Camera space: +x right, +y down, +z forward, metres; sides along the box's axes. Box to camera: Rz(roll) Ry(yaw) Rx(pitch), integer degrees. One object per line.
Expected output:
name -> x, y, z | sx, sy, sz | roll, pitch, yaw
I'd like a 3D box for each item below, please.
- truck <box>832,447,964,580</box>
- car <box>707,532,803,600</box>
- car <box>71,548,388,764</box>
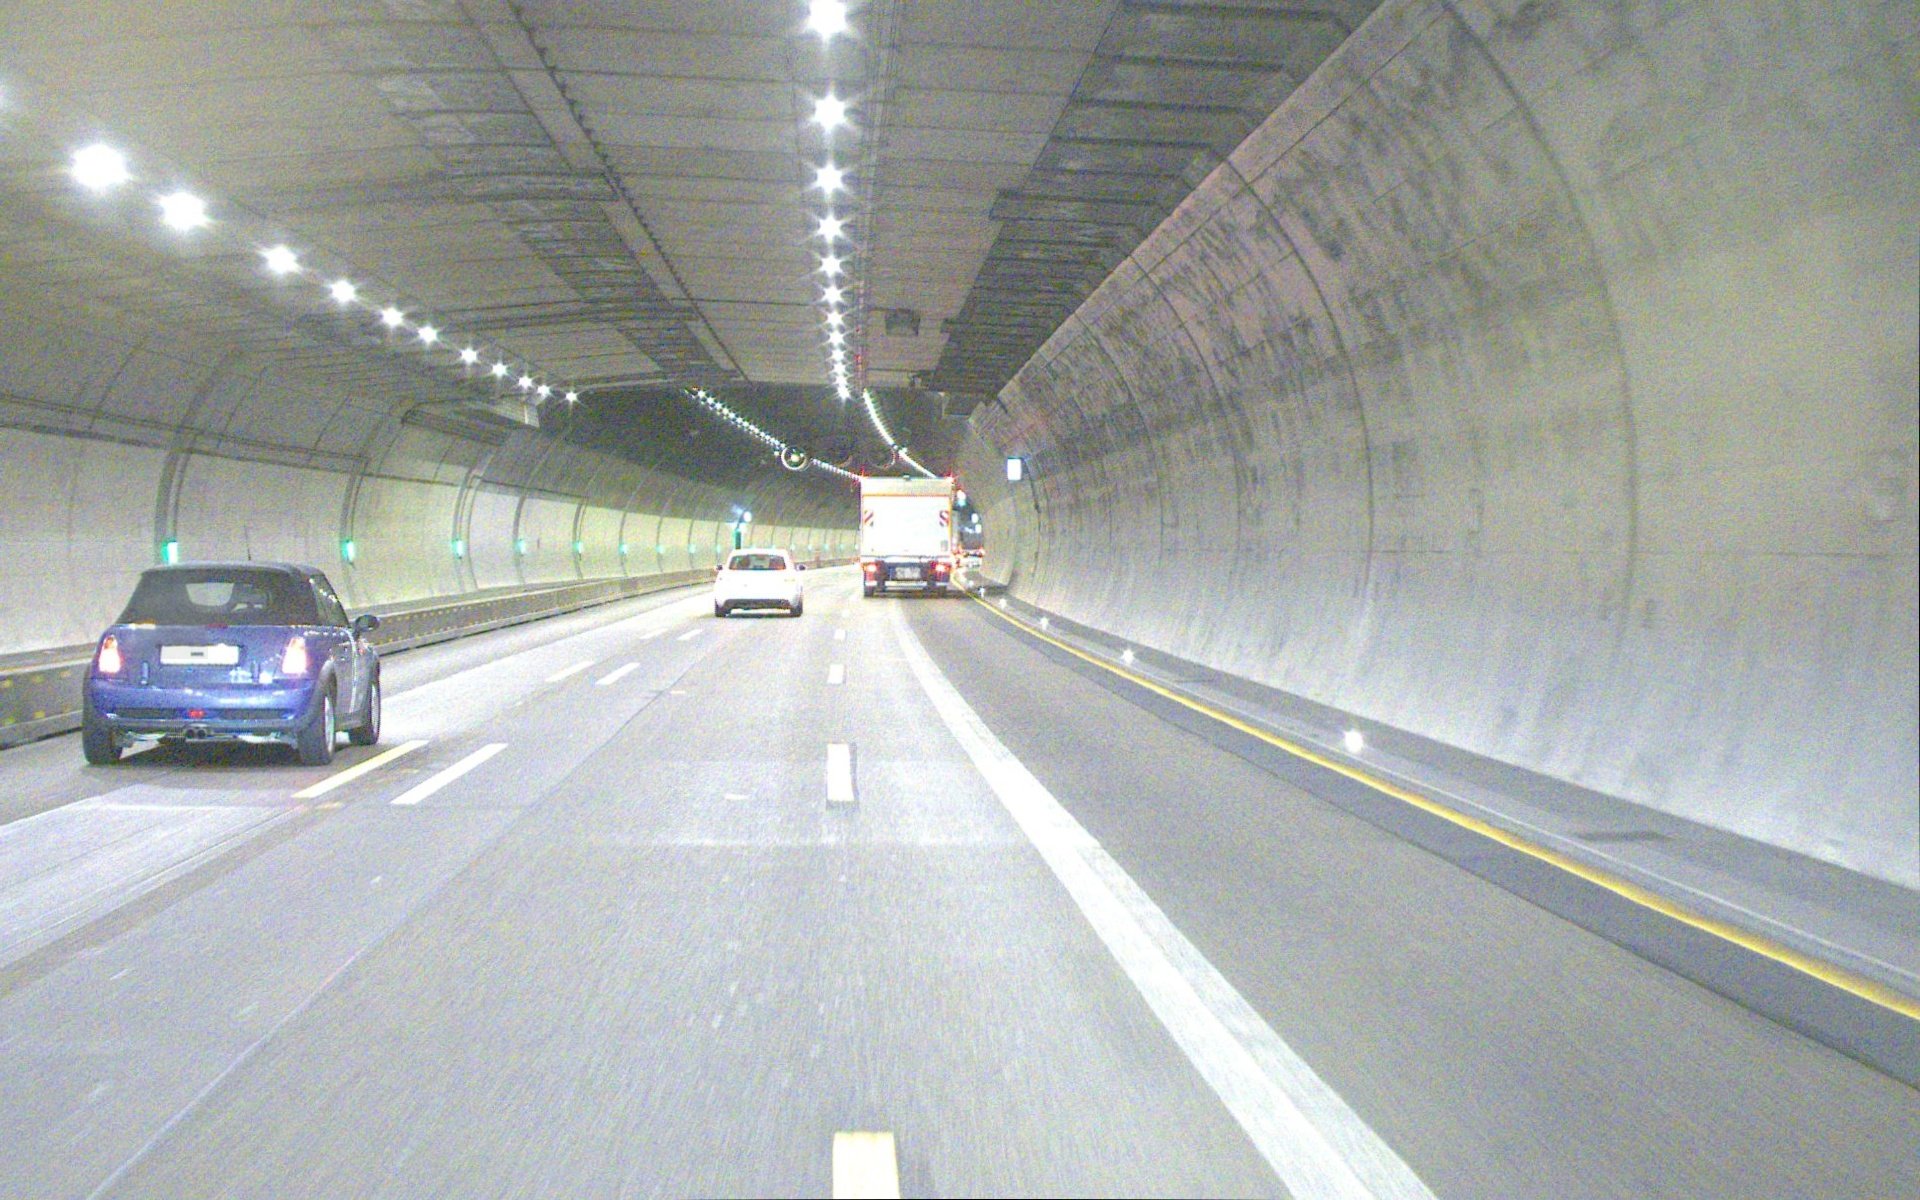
truck -> -1.762, -2.503, 100.605 | 3.592, 3.638, 10.723 | 1, 1, 0
car -> -4.475, -0.754, 74.585 | 1.993, 1.408, 4.743 | 1, 1, -4
car -> -5.228, 0.345, 25.041 | 1.689, 1.412, 3.923 | 1, 1, -4
